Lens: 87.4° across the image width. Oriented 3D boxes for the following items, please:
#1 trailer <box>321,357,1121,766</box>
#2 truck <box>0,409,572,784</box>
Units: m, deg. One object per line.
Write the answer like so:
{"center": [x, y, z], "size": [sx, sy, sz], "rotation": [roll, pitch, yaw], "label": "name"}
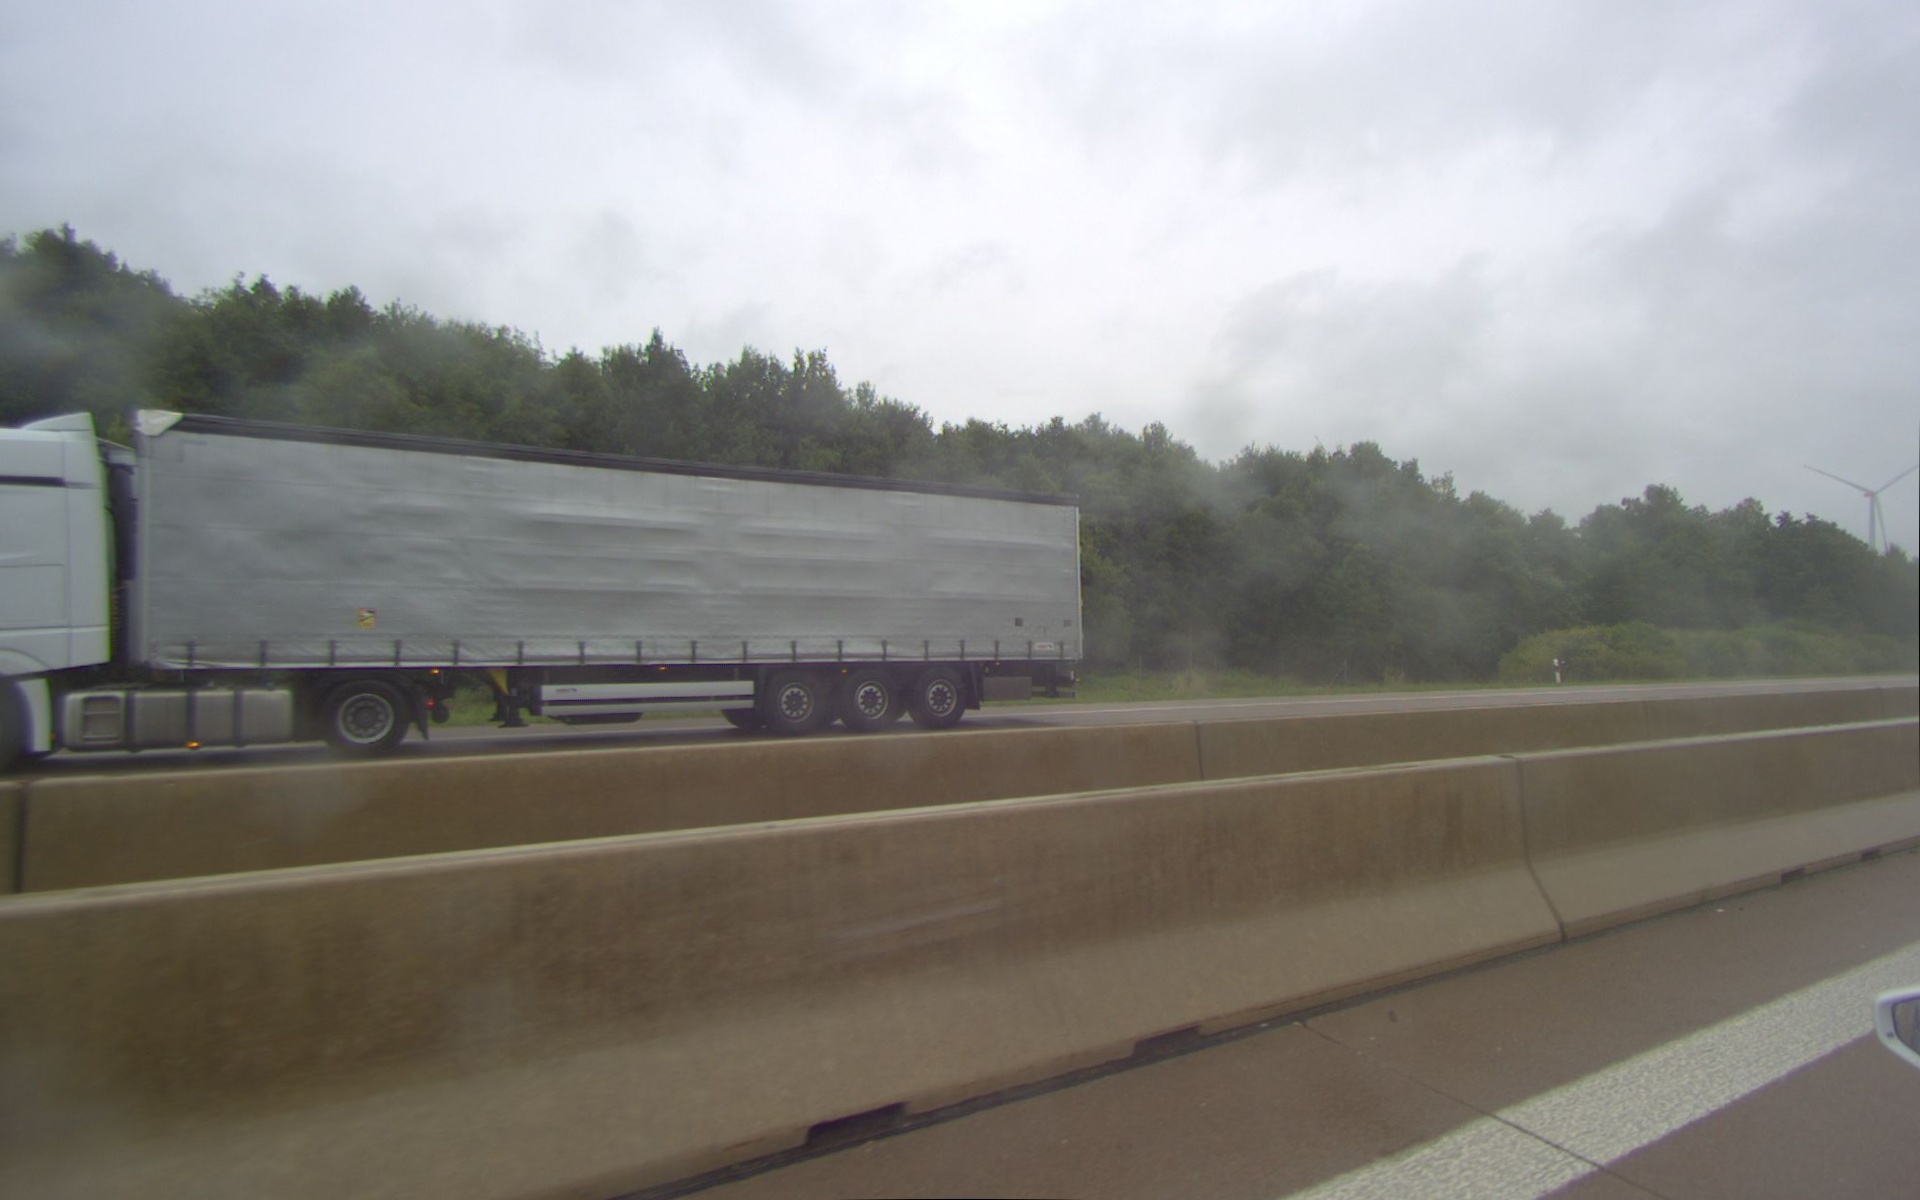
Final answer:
{"center": [-3.226, -0.297, 16.765], "size": [12.303, 4.931, 3.413], "rotation": [2, 0, -31], "label": "trailer"}
{"center": [-9.288, 0.008, 13.081], "size": [7.379, 3.940, 3.455], "rotation": [2, 0, -31], "label": "truck"}
